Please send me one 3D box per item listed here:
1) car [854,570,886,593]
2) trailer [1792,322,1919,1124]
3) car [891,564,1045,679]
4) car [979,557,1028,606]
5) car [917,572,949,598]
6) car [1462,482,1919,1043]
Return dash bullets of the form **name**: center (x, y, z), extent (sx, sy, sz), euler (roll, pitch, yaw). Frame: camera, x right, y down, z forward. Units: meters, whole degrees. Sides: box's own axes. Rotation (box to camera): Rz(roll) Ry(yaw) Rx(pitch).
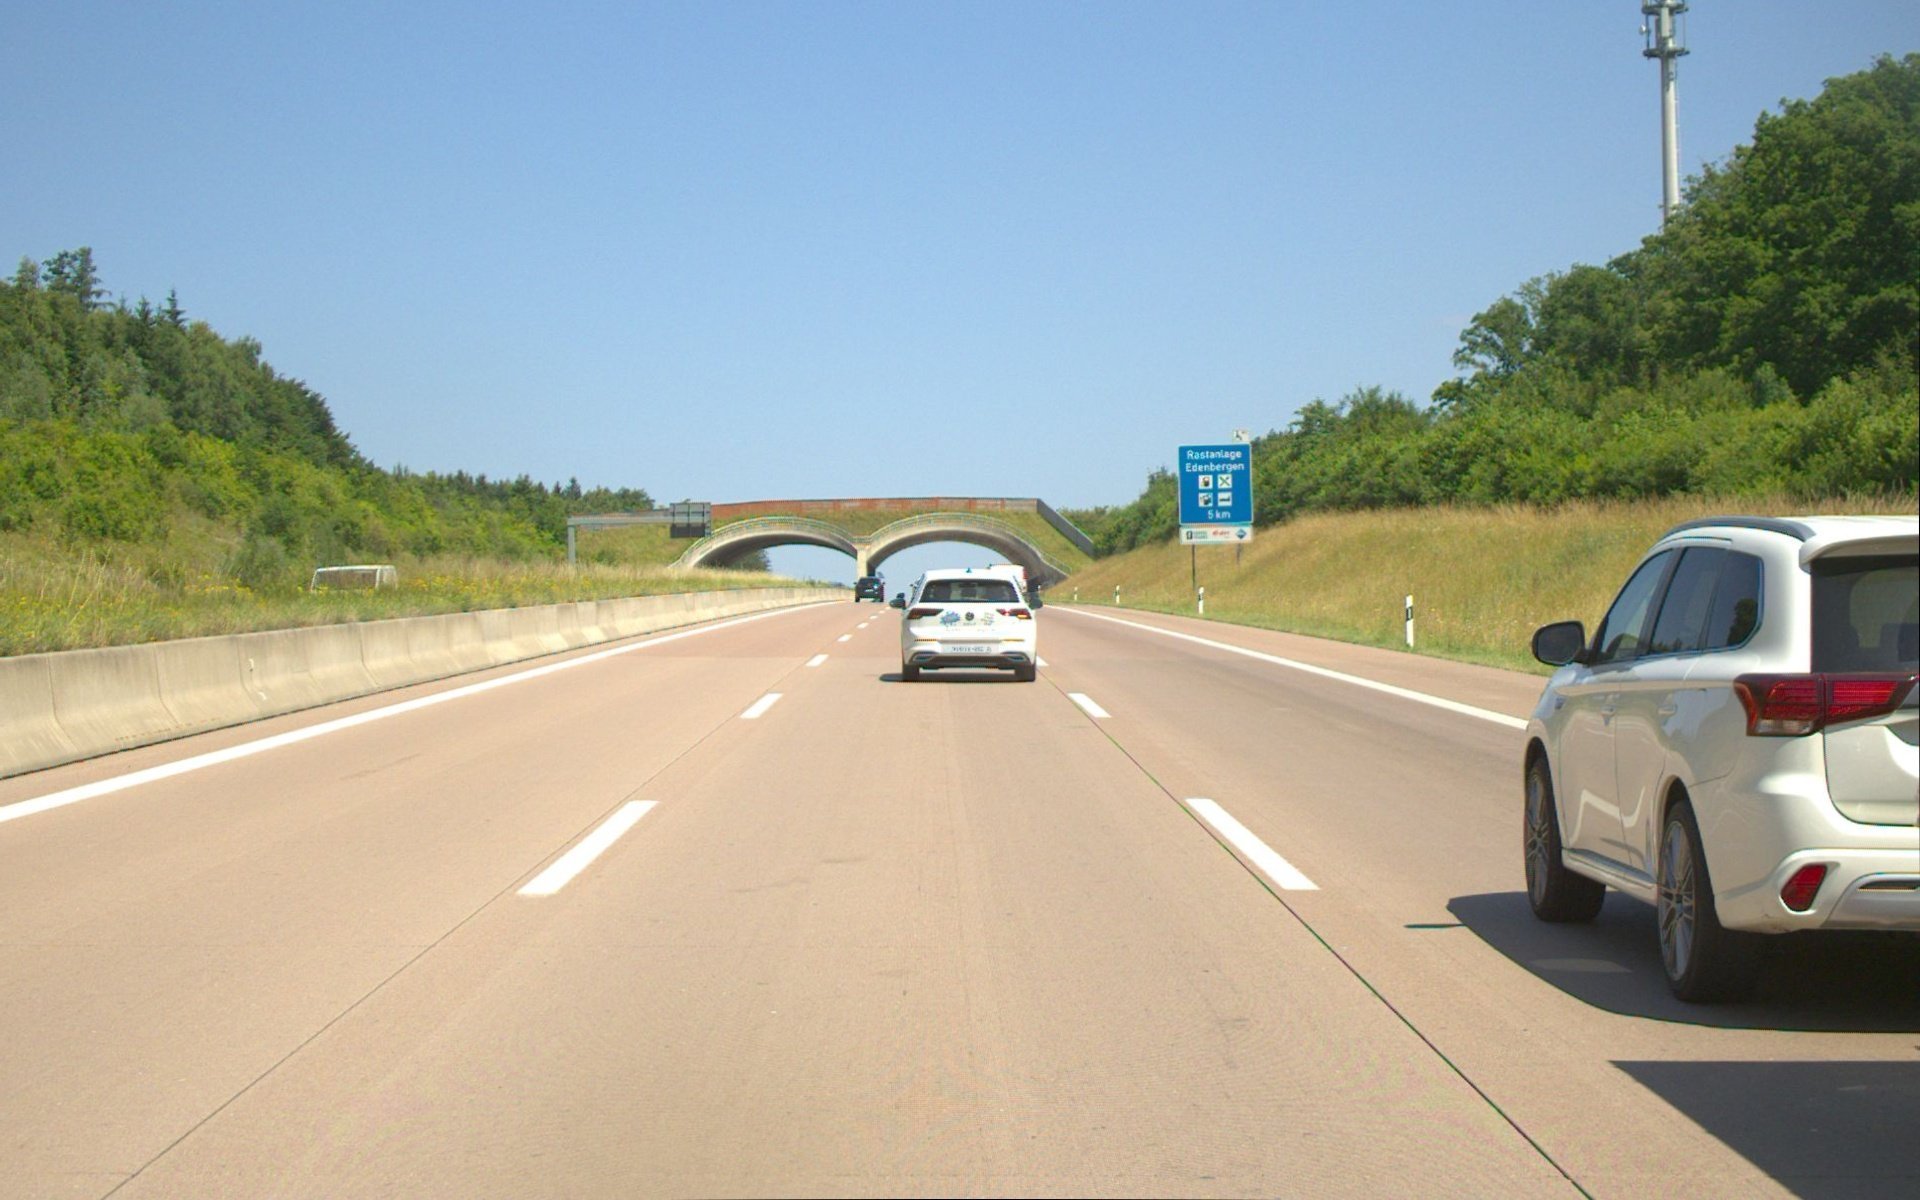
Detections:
- **car**: center (-6.008, -1.265, 230.344), extent (1.891, 1.458, 4.000), euler (0, 1, 2)
- **trailer**: center (3.422, 0.341, 8.574), extent (1.657, 2.156, 4.016), euler (0, 1, -1)
- **car**: center (0.148, 0.252, 45.131), extent (1.891, 1.393, 4.000), euler (1, 1, 2)
- **car**: center (1.946, -0.831, 151.731), extent (2.110, 2.047, 4.000), euler (0, 1, 2)
- **car**: center (-1.615, -0.911, 206.971), extent (1.891, 1.458, 4.000), euler (1, 1, 0)
- **car**: center (3.331, 0.466, 13.165), extent (1.890, 1.722, 5.187), euler (0, 1, -2)
